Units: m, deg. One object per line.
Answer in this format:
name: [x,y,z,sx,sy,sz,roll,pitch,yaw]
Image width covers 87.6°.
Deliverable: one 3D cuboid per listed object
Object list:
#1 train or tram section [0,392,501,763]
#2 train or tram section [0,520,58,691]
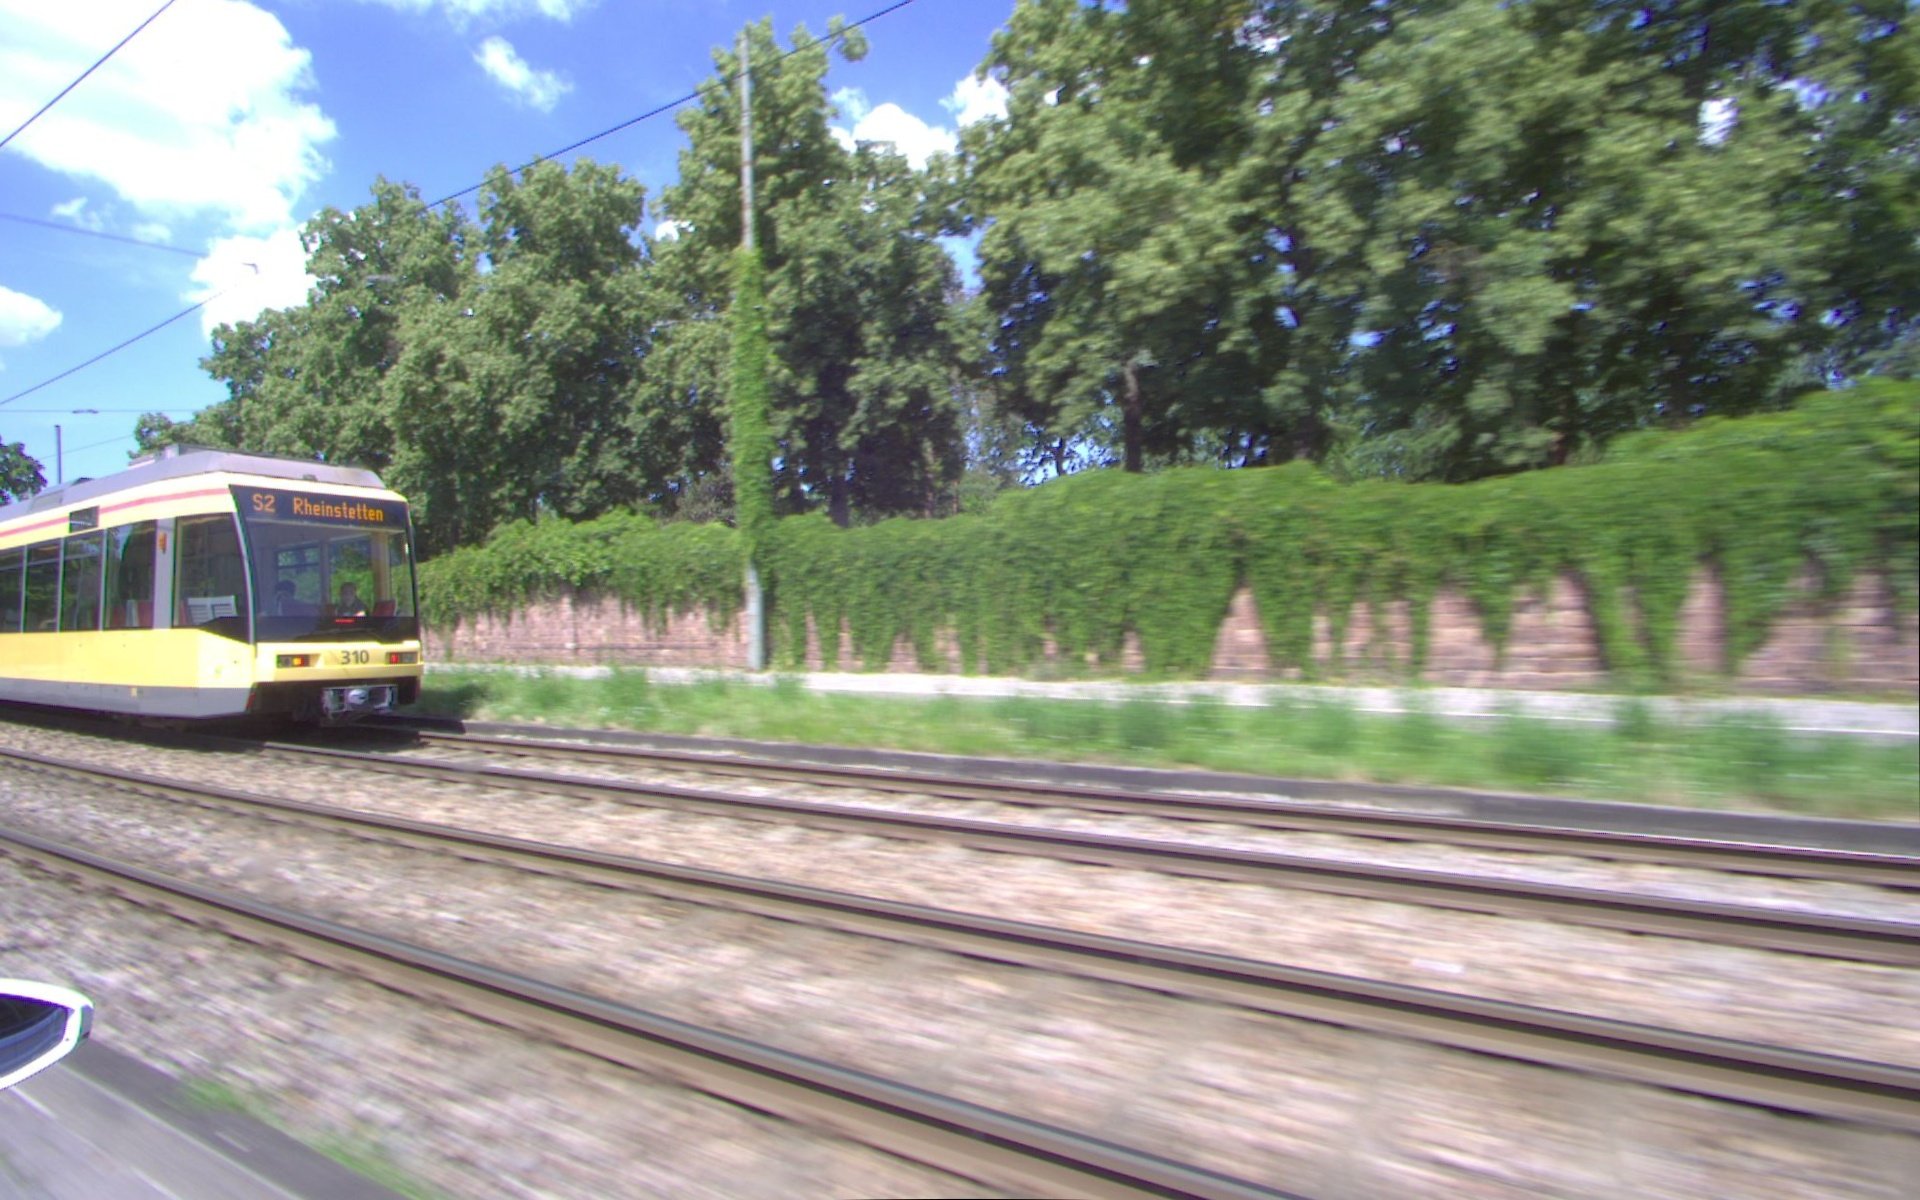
train or tram section: [-14.007,-0.040,16.486,18.141,3.740,2.936,-1,-1,35]
train or tram section: [-29.404,0.302,27.596,20.022,3.740,2.934,-1,-1,37]
